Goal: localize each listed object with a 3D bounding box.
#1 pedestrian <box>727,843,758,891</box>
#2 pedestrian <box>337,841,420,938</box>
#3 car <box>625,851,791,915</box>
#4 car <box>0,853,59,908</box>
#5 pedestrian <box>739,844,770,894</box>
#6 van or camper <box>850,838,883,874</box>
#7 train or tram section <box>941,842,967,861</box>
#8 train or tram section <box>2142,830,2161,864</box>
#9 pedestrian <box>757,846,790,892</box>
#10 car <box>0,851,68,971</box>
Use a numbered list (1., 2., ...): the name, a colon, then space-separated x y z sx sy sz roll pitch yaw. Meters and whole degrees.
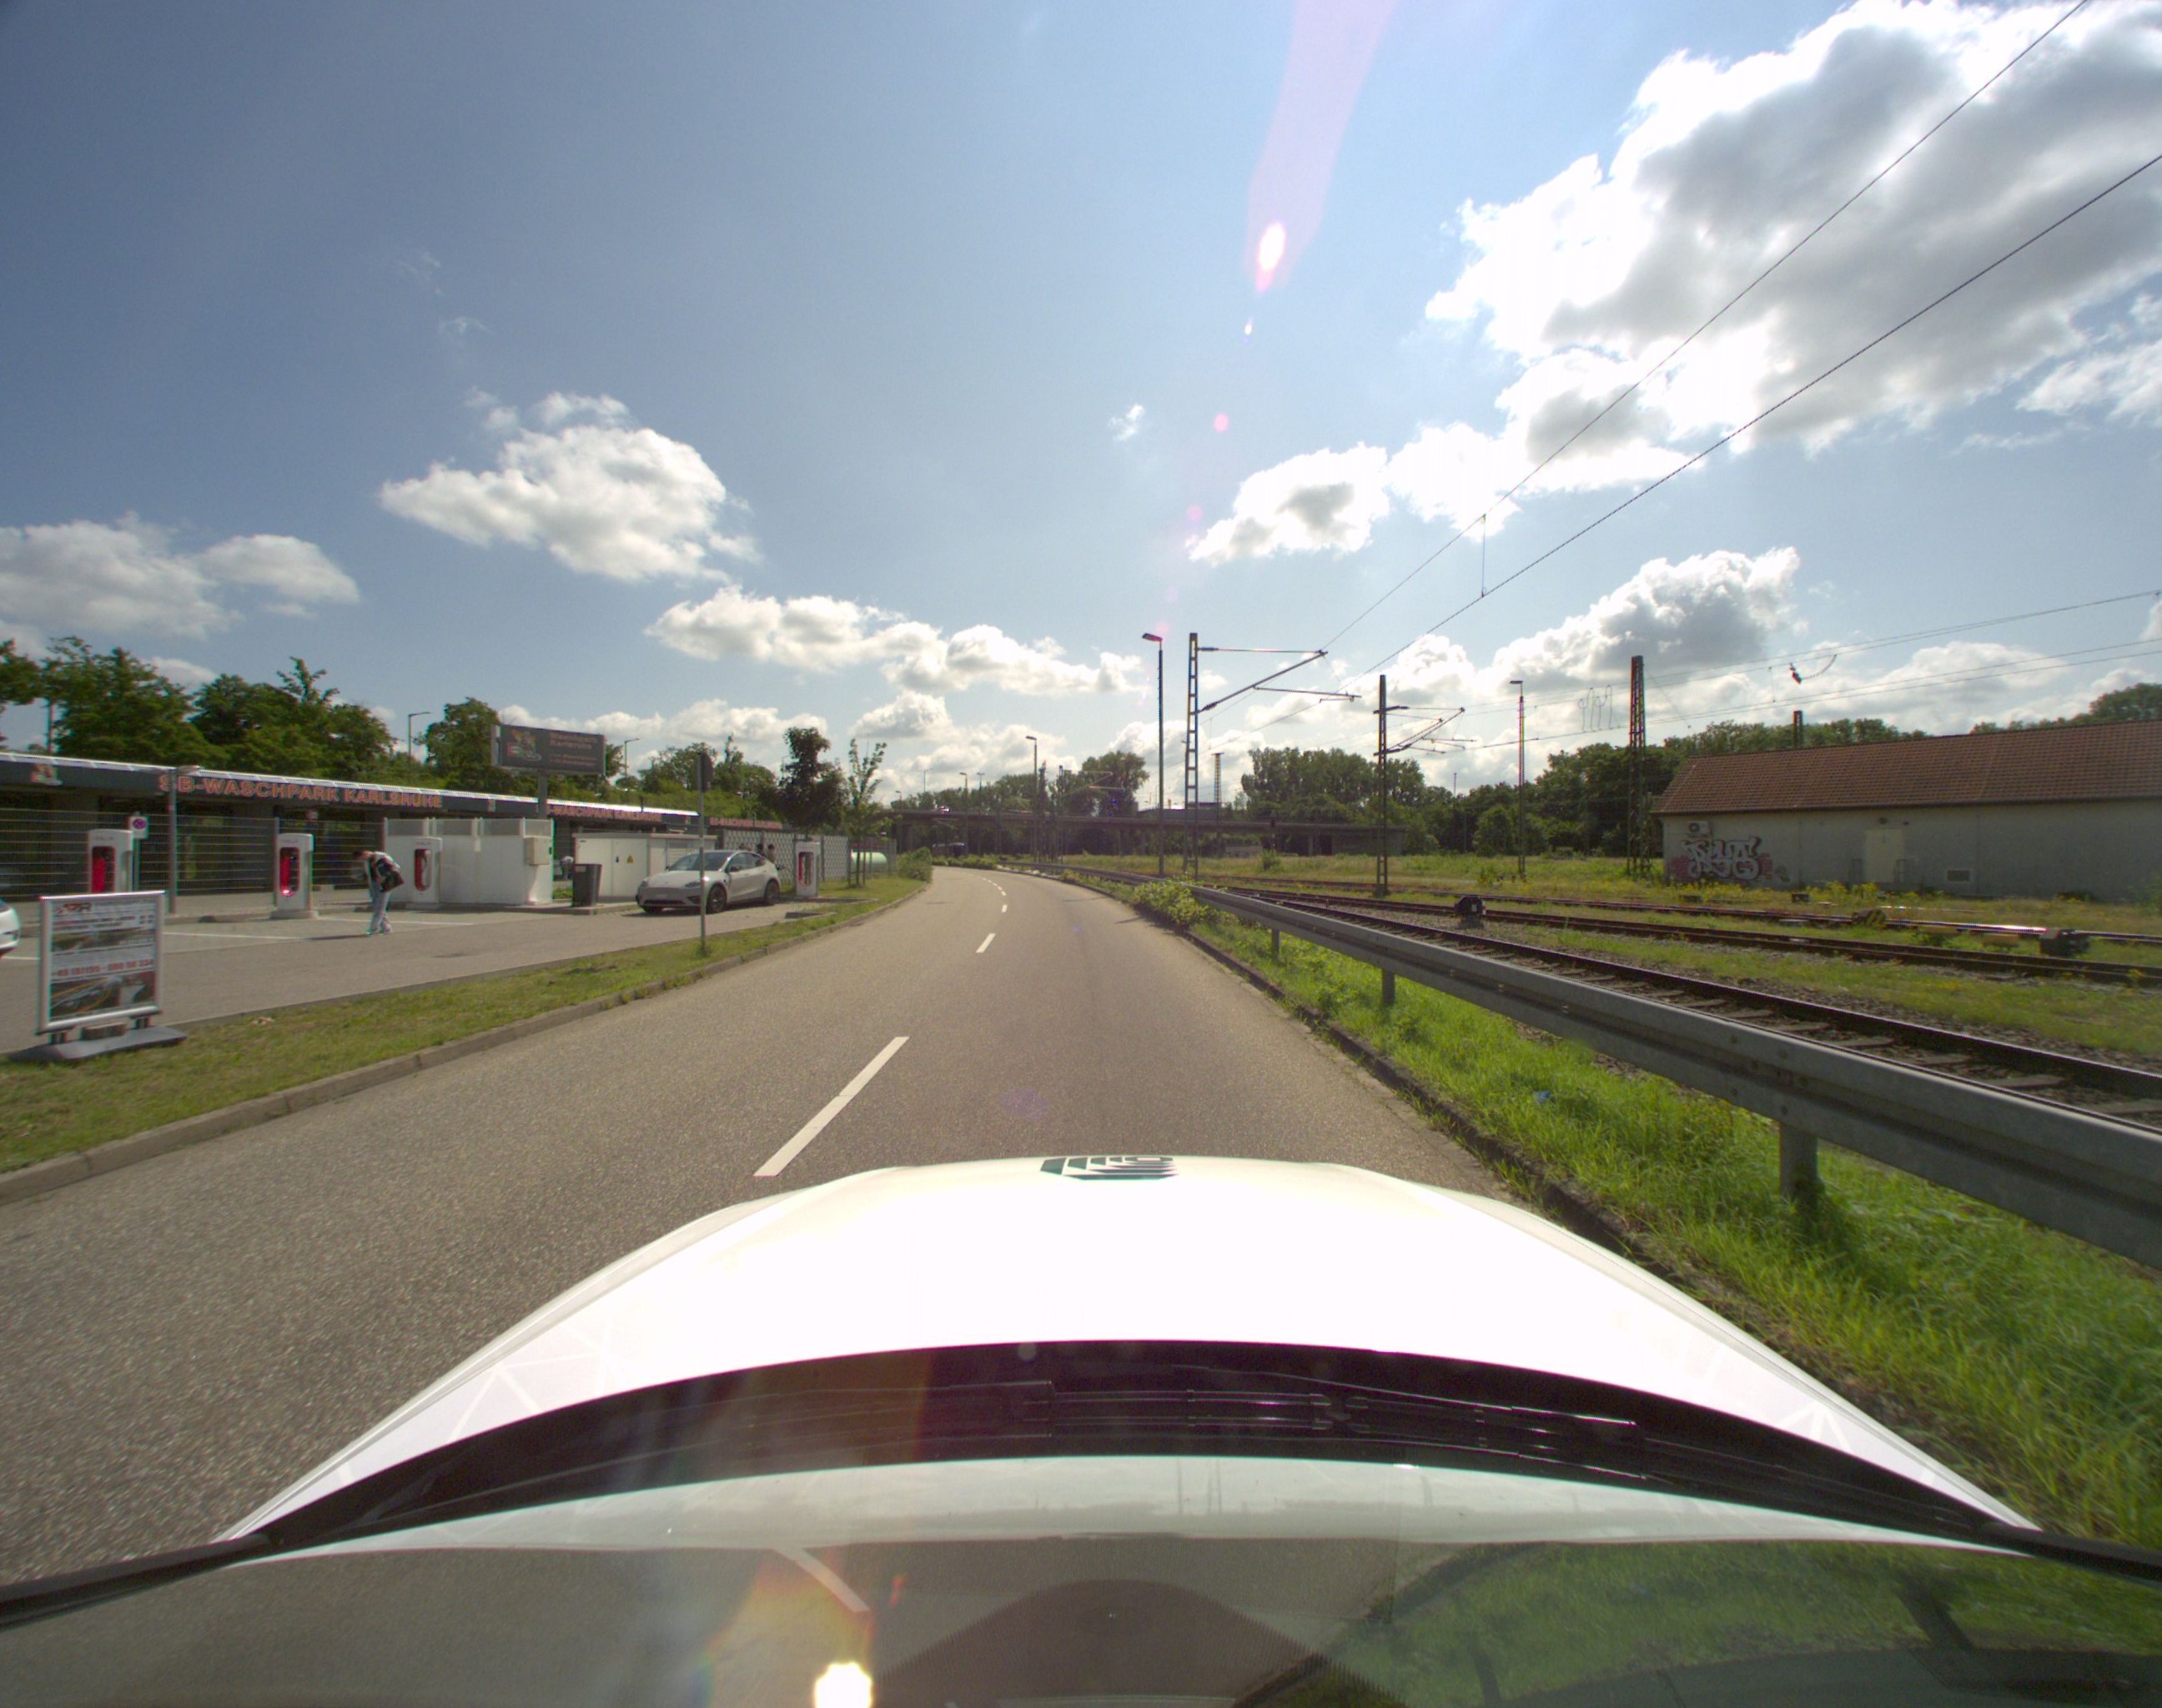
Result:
1. pedestrian: -11.123 0.422 26.764 0.717 1.565 0.750 0 -1 -43
2. pedestrian: -13.027 0.647 15.122 0.859 1.751 0.727 0 0 1
3. car: -10.028 0.712 22.391 1.921 1.518 4.784 -1 1 6
4. car: -32.882 0.770 23.733 3.967 1.562 2.003 -1 0 5
5. pedestrian: -10.500 0.484 26.195 0.726 1.579 0.705 0 -1 -41
6. van or camper: -16.190 0.108 61.543 2.192 2.514 5.673 -3 1 -15
7. train or tram section: -25.032 -0.459 159.986 2.904 3.509 8.496 0 0 -24
8. train or tram section: 109.008 -0.739 74.868 3.047 3.305 13.788 0 -1 -35
9. pedestrian: -10.328 0.499 27.347 0.733 1.542 0.817 -1 -1 8
10. car: -16.020 0.705 10.105 4.532 1.524 2.002 0 0 3
